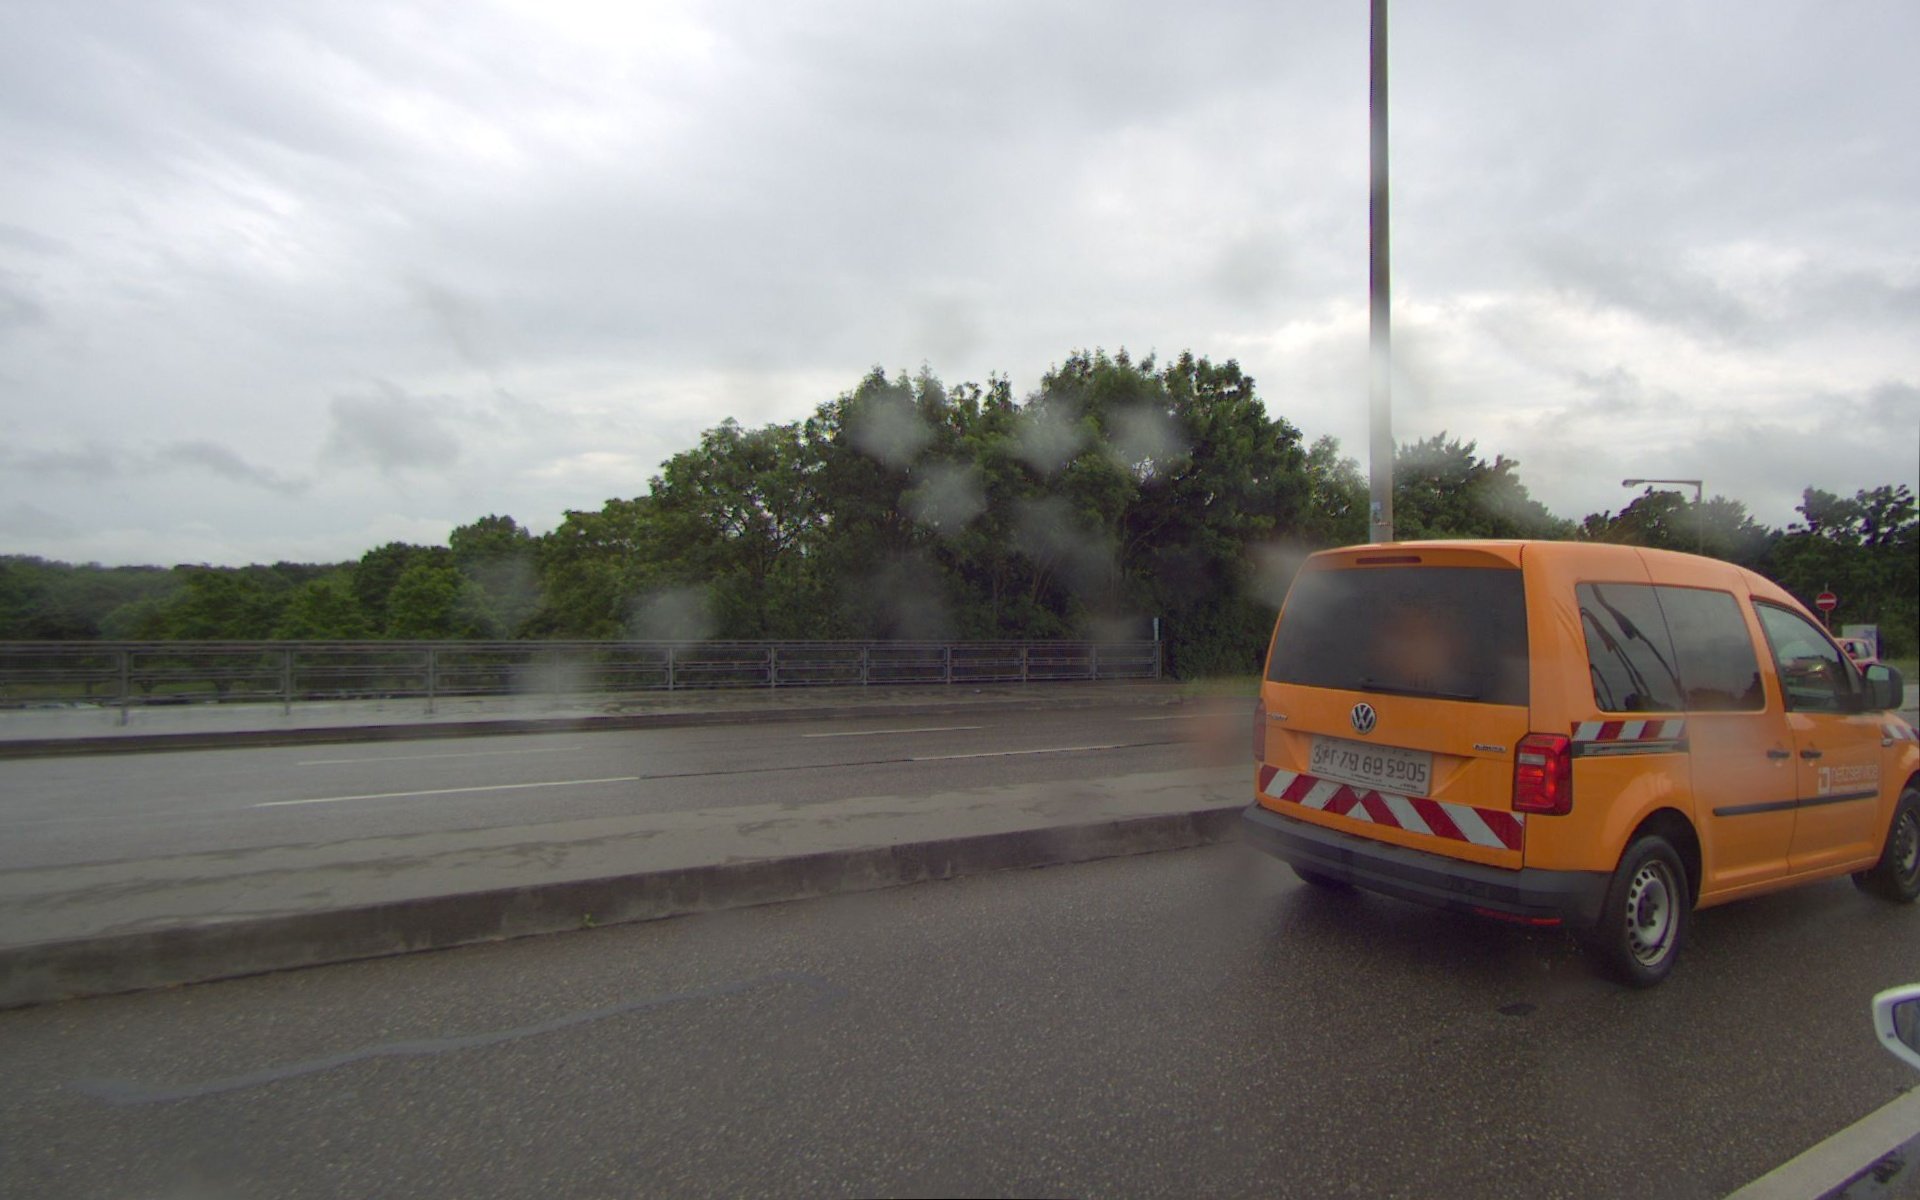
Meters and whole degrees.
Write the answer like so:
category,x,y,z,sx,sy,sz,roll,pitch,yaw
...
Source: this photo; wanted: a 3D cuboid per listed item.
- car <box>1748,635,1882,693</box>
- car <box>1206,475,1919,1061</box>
category,x,y,z,sx,sy,sz,roll,pitch,yaw
car,23.066,1.718,27.091,3.515,1.467,1.653,2,-4,-30
car,3.741,0.665,5.479,4.793,2.045,1.726,2,-1,-30
